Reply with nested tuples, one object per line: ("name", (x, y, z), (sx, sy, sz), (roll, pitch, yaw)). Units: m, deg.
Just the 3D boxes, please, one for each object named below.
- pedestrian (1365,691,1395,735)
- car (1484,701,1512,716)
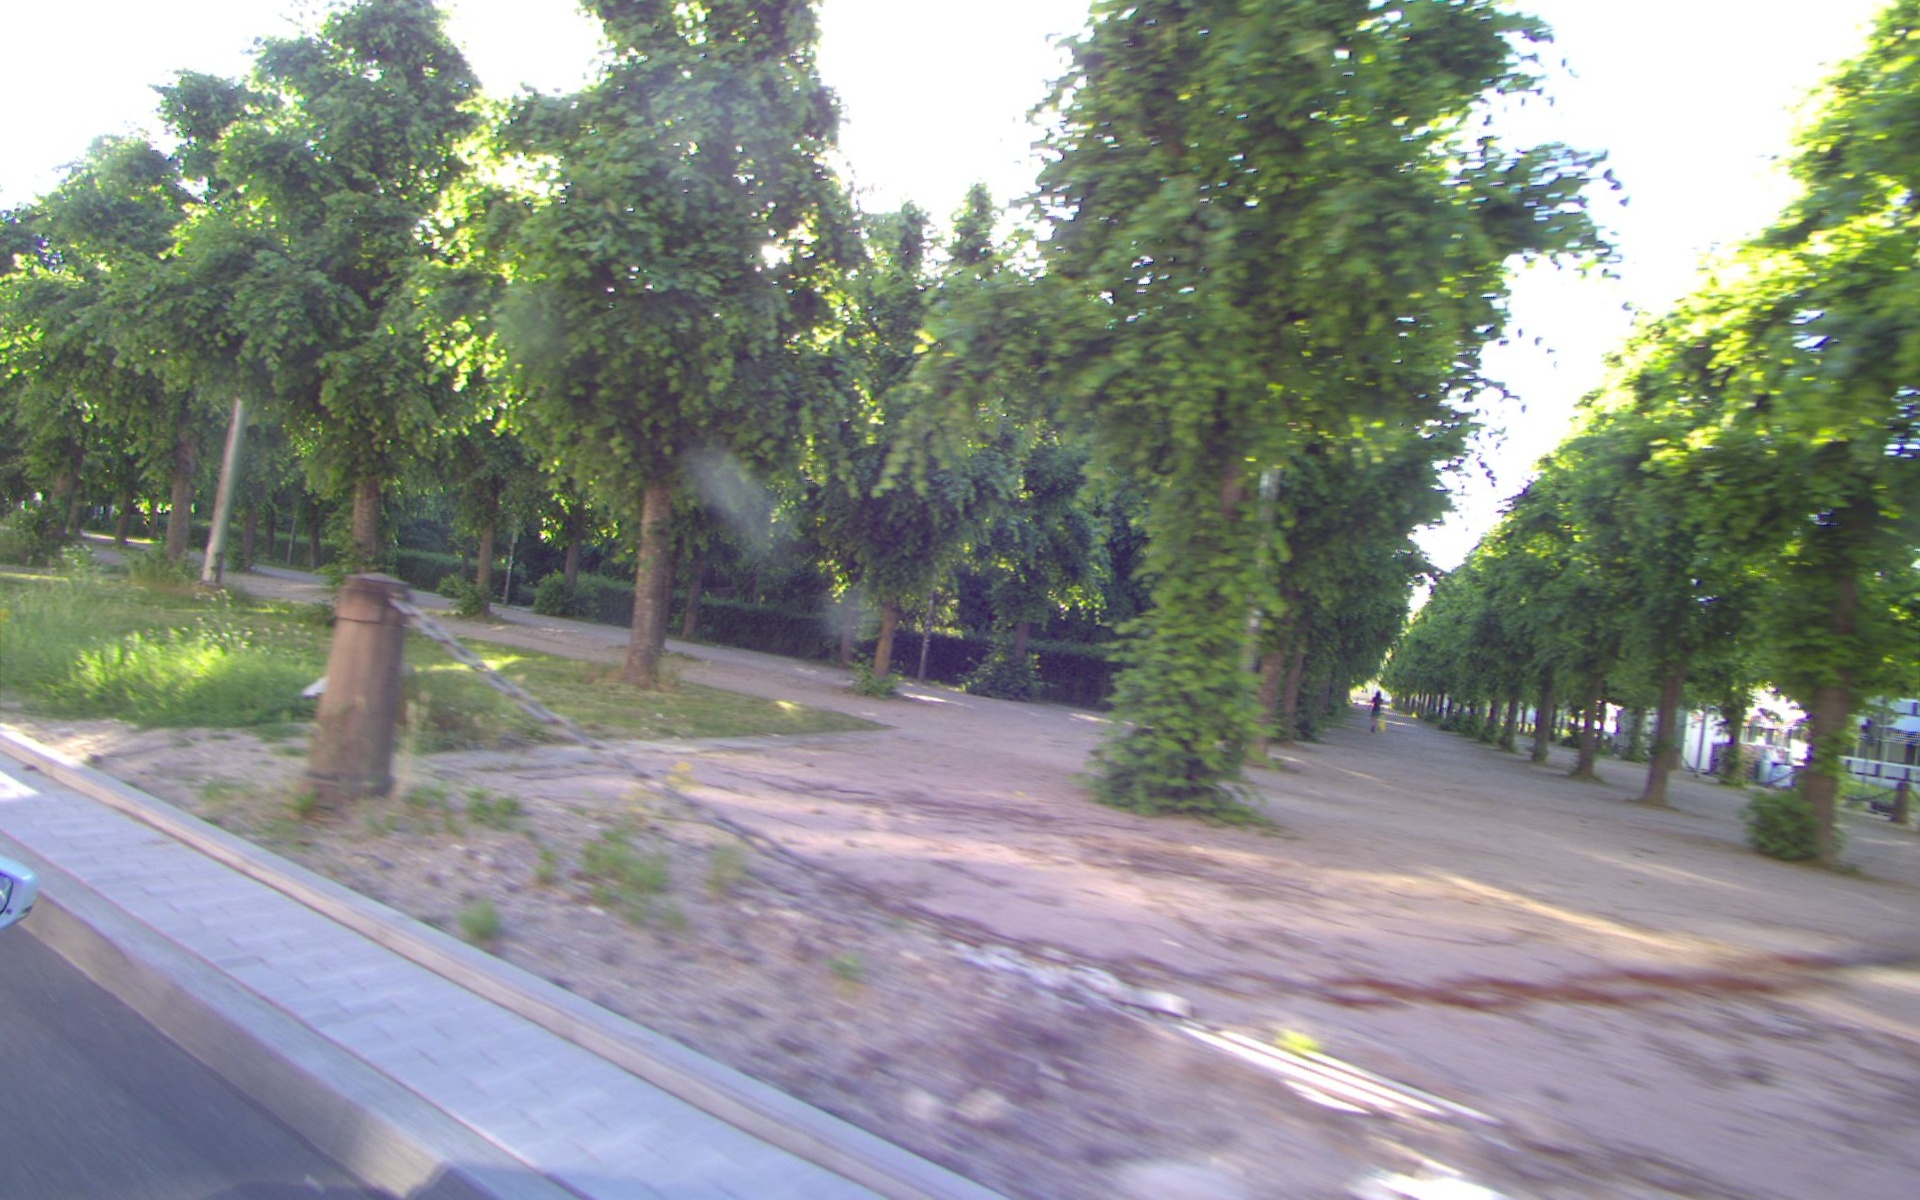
("pedestrian", (16.307, 4.379, 39.078), (0.823, 1.602, 0.681), (7, -1, 19))
("car", (92.922, 18.737, 173.652), (3.929, 2.037, 2.000), (8, -1, 26))
